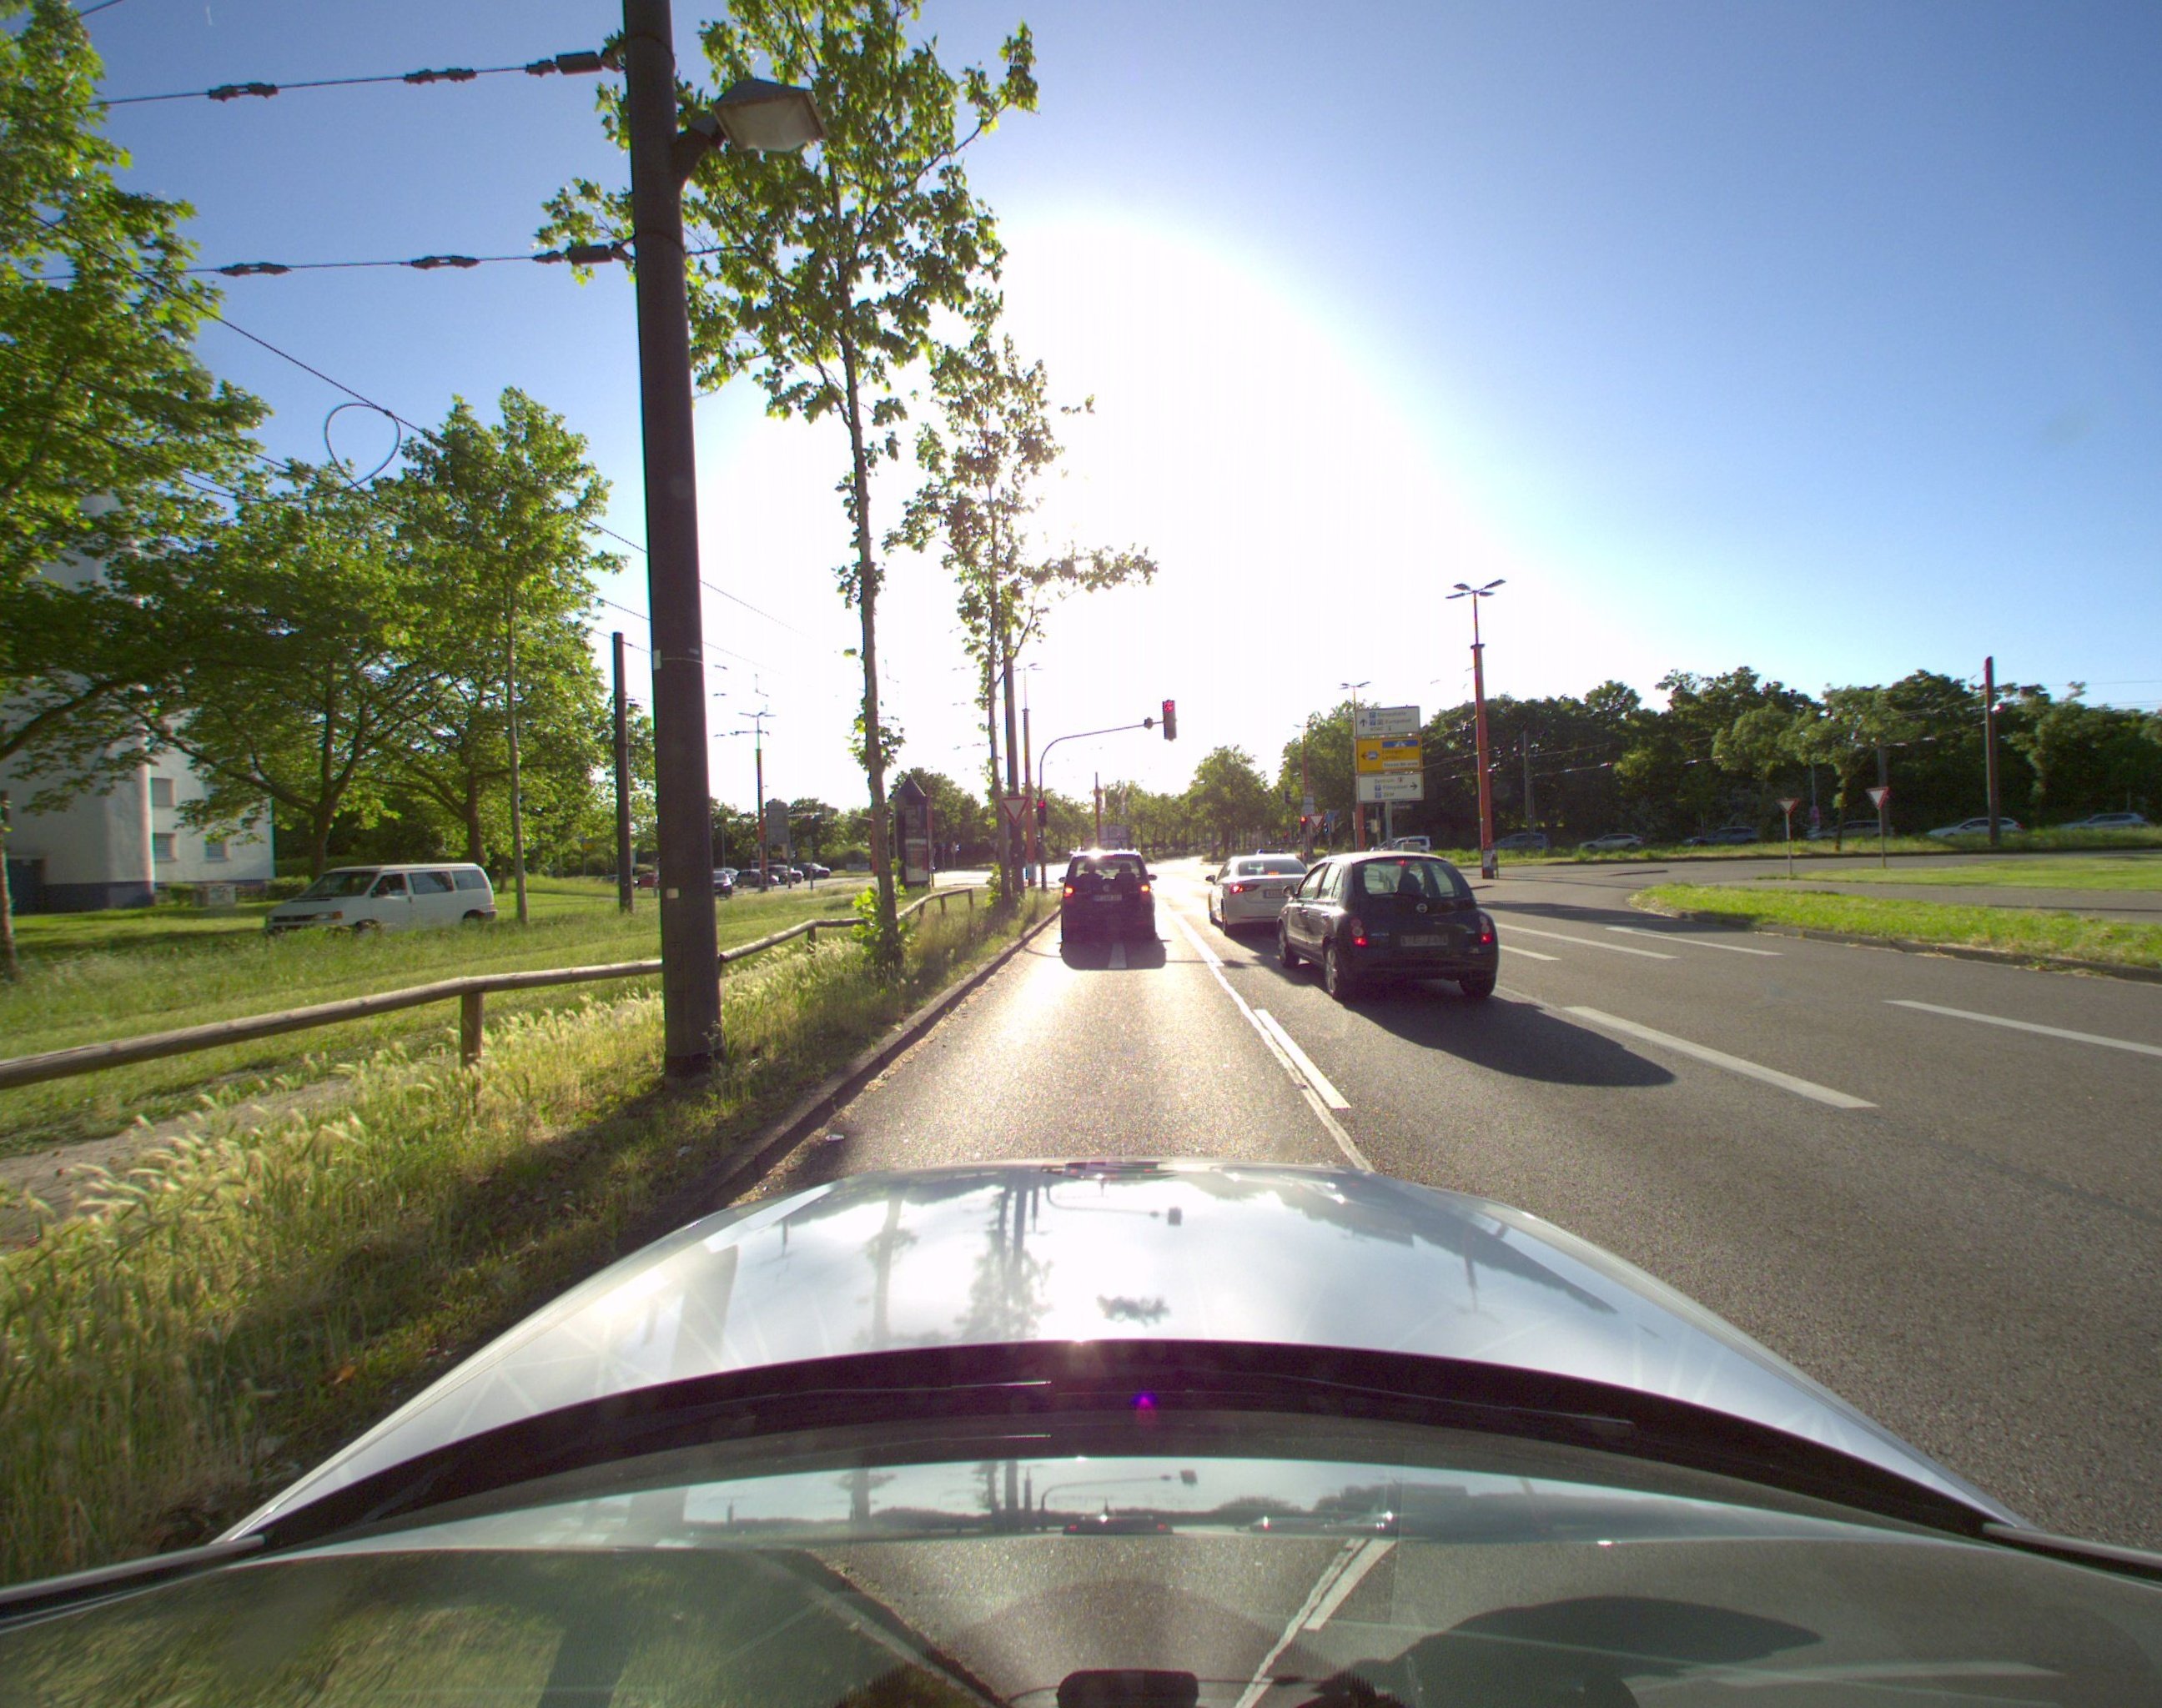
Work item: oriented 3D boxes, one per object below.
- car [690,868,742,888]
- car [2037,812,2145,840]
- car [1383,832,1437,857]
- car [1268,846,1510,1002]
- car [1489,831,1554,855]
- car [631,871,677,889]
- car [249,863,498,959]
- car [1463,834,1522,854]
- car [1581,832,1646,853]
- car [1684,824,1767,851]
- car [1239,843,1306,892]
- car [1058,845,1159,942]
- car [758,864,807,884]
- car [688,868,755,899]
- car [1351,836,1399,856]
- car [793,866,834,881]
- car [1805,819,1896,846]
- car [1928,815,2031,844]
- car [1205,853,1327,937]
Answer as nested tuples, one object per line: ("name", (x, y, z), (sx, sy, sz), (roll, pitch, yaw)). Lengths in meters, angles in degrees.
("car", (-31.862, 2.096, 71.045), (4.135, 1.612, 1.880), (-2, 0, 27))
("car", (60.095, -1.667, 48.538), (3.699, 1.473, 1.611), (-2, 0, 31))
("car", (25.972, -0.716, 64.289), (3.797, 1.890, 1.774), (-1, -1, 26))
("car", (3.412, 0.687, 9.743), (1.647, 1.500, 3.617), (-1, 0, 2))
("car", (32.632, -0.788, 60.357), (4.139, 1.644, 1.770), (-1, -1, 29))
("car", (-39.040, 2.362, 74.497), (3.949, 1.513, 1.743), (-2, 0, 28))
("car", (-17.051, 1.267, 20.028), (1.783, 1.992, 4.658), (-2, 0, 4))
("car", (32.480, -0.763, 64.310), (4.082, 1.511, 1.834), (-1, -1, 28))
("car", (39.278, -0.833, 60.160), (3.926, 1.441, 1.697), (-1, -1, 29))
("car", (43.146, -1.086, 54.620), (4.080, 1.598, 1.840), (-2, 0, 27))
("car", (7.052, 0.474, 30.346), (1.789, 1.656, 4.119), (-2, 0, 4))
("car", (0.539, 0.688, 16.089), (1.694, 1.621, 3.898), (-2, 0, 2))
("car", (-26.220, 1.764, 71.527), (3.948, 1.644, 2.013), (-2, 0, 33))
("car", (-20.118, 1.609, 45.764), (1.758, 1.512, 4.104), (-2, 0, 2))
("car", (24.714, -0.648, 68.461), (3.607, 1.655, 1.690), (-1, -1, 27))
("car", (-26.050, 1.900, 79.213), (3.948, 1.330, 1.709), (-2, 0, 33))
("car", (51.314, -1.416, 54.410), (4.080, 1.644, 1.864), (-2, 0, 31))
("car", (53.720, -1.446, 48.775), (3.782, 1.523, 1.706), (-2, 0, 31))
("car", (3.537, 0.714, 16.287), (1.713, 1.438, 4.202), (-1, 0, 4))
